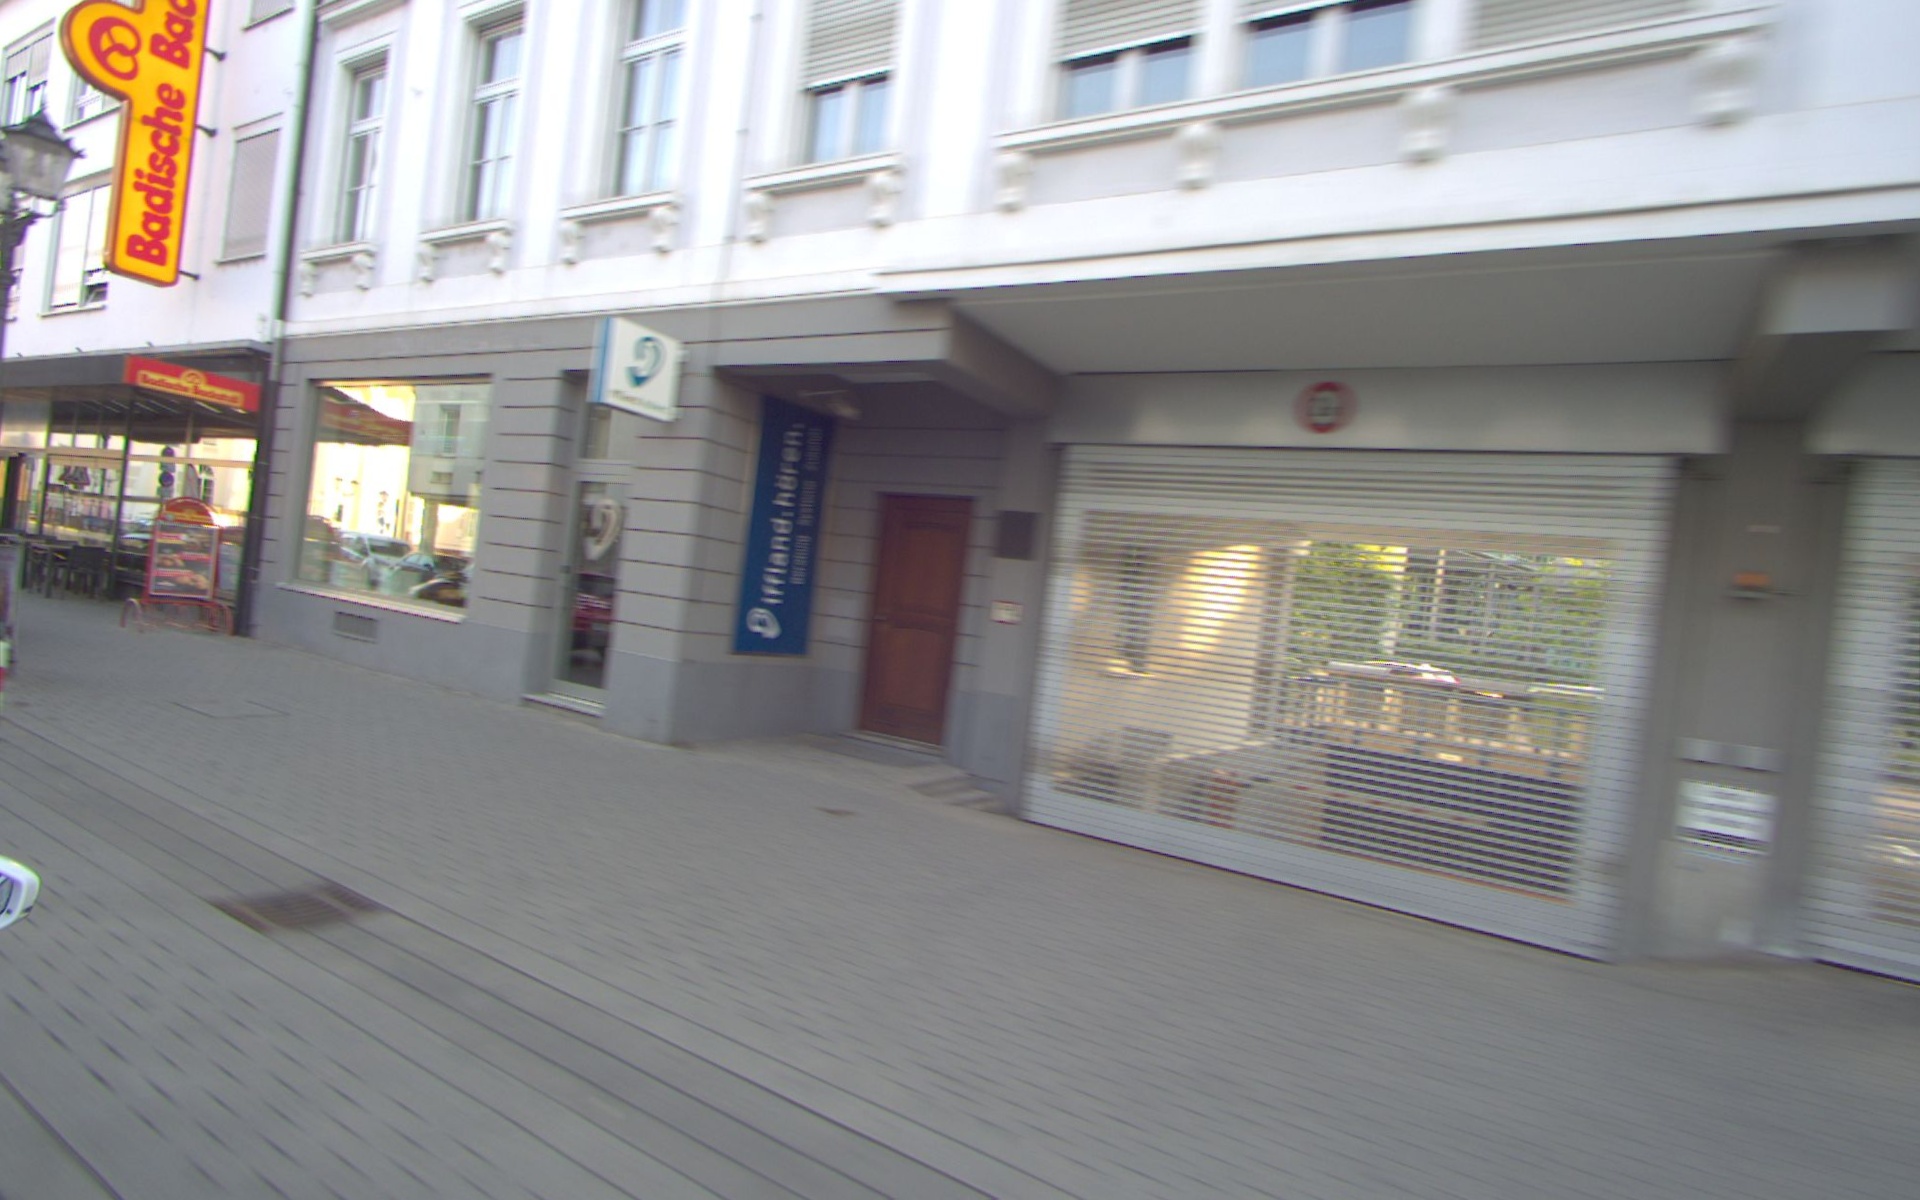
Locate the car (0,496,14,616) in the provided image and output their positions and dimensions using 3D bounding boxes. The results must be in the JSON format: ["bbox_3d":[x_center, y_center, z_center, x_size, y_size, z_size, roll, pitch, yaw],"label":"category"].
[{"bbox_3d":[-11.043,-0.457,9.774,3.617,1.541,1.762,7,-1,32],"label":"car"}]
